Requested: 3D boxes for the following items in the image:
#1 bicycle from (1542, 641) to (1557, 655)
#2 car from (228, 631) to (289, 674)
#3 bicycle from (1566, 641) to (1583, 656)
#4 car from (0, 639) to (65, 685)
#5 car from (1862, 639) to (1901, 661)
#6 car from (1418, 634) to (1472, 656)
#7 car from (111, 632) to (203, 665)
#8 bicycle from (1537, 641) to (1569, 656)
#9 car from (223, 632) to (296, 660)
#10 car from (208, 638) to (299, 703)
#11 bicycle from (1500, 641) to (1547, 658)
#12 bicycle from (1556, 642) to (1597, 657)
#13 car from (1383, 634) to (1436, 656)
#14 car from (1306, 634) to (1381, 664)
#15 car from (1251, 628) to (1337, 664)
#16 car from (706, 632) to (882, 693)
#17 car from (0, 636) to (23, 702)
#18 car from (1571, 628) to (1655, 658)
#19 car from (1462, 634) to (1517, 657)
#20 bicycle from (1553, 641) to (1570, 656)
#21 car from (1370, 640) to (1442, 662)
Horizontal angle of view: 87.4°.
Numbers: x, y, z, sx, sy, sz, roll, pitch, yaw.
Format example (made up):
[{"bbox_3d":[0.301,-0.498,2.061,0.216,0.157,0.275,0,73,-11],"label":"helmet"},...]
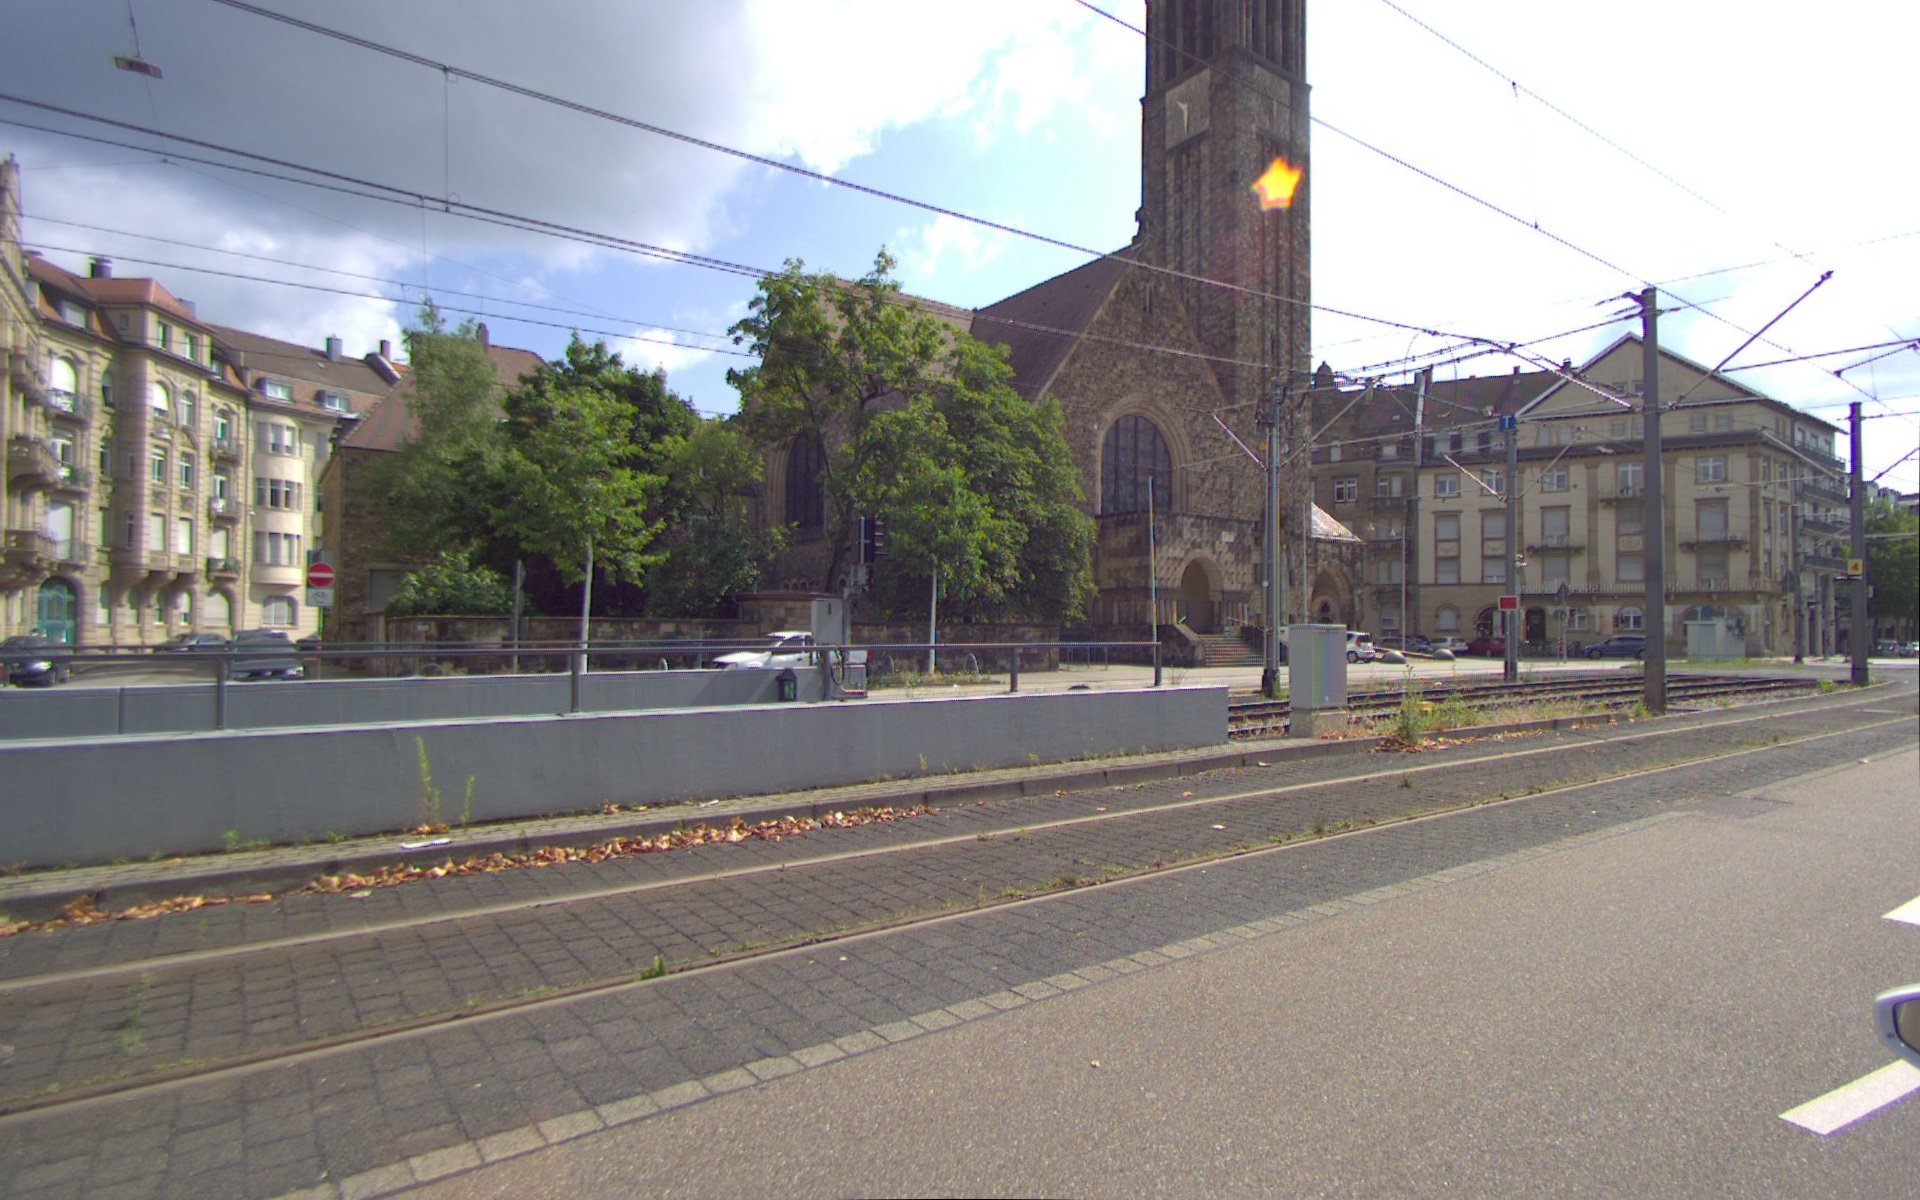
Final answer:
[{"bbox_3d":[44.701,3.645,76.234,0.728,1.067,2.564,-1,-2,25],"label":"bicycle"},{"bbox_3d":[-28.755,2.116,41.136,1.915,1.692,3.753,1,-2,-37],"label":"car"},{"bbox_3d":[46.166,3.656,75.460,0.791,1.067,2.564,-1,-2,25],"label":"bicycle"},{"bbox_3d":[-28.880,1.885,31.095,1.490,1.330,3.205,1,-3,-37],"label":"car"},{"bbox_3d":[87.514,4.706,95.342,3.962,2.040,1.980,2,-2,-36],"label":"car"},{"bbox_3d":[38.138,3.535,79.031,1.770,1.661,3.993,0,-2,-11],"label":"car"},{"bbox_3d":[-43.014,2.596,53.913,1.895,1.692,3.793,0,-2,-1],"label":"car"},{"bbox_3d":[43.653,3.577,73.926,1.937,1.129,0.487,-1,-2,18],"label":"bicycle"},{"bbox_3d":[-43.050,2.820,61.850,1.895,1.692,3.793,0,-2,-1],"label":"car"},{"bbox_3d":[-17.606,1.709,25.078,1.706,1.483,3.937,1,-3,-35],"label":"car"},{"bbox_3d":[42.706,3.739,76.200,0.983,1.270,3.307,1,-2,-19],"label":"bicycle"},{"bbox_3d":[45.359,3.610,73.930,2.519,1.067,0.681,-1,-2,27],"label":"bicycle"},{"bbox_3d":[35.741,3.556,79.986,1.965,1.695,3.993,0,-2,-11],"label":"car"},{"bbox_3d":[20.125,2.535,52.787,1.837,1.522,3.242,1,-2,-37],"label":"car"},{"bbox_3d":[17.075,2.327,51.485,1.878,1.771,3.840,1,-2,-38],"label":"car"},{"bbox_3d":[-4.461,1.646,27.353,4.375,1.524,1.916,2,-2,-38],"label":"car"},{"bbox_3d":[-22.517,1.540,22.204,1.912,1.483,3.759,1,-2,-32],"label":"car"},{"bbox_3d":[45.311,2.959,69.811,4.720,2.040,1.997,-1,-2,29],"label":"car"},{"bbox_3d":[40.696,3.473,77.231,1.961,1.696,3.999,0,-2,-3],"label":"car"},{"bbox_3d":[45.408,3.650,75.835,0.791,1.067,2.564,-1,-2,25],"label":"bicycle"},{"bbox_3d":[31.469,3.581,70.911,4.490,1.455,1.703,-1,-2,31],"label":"car"}]
